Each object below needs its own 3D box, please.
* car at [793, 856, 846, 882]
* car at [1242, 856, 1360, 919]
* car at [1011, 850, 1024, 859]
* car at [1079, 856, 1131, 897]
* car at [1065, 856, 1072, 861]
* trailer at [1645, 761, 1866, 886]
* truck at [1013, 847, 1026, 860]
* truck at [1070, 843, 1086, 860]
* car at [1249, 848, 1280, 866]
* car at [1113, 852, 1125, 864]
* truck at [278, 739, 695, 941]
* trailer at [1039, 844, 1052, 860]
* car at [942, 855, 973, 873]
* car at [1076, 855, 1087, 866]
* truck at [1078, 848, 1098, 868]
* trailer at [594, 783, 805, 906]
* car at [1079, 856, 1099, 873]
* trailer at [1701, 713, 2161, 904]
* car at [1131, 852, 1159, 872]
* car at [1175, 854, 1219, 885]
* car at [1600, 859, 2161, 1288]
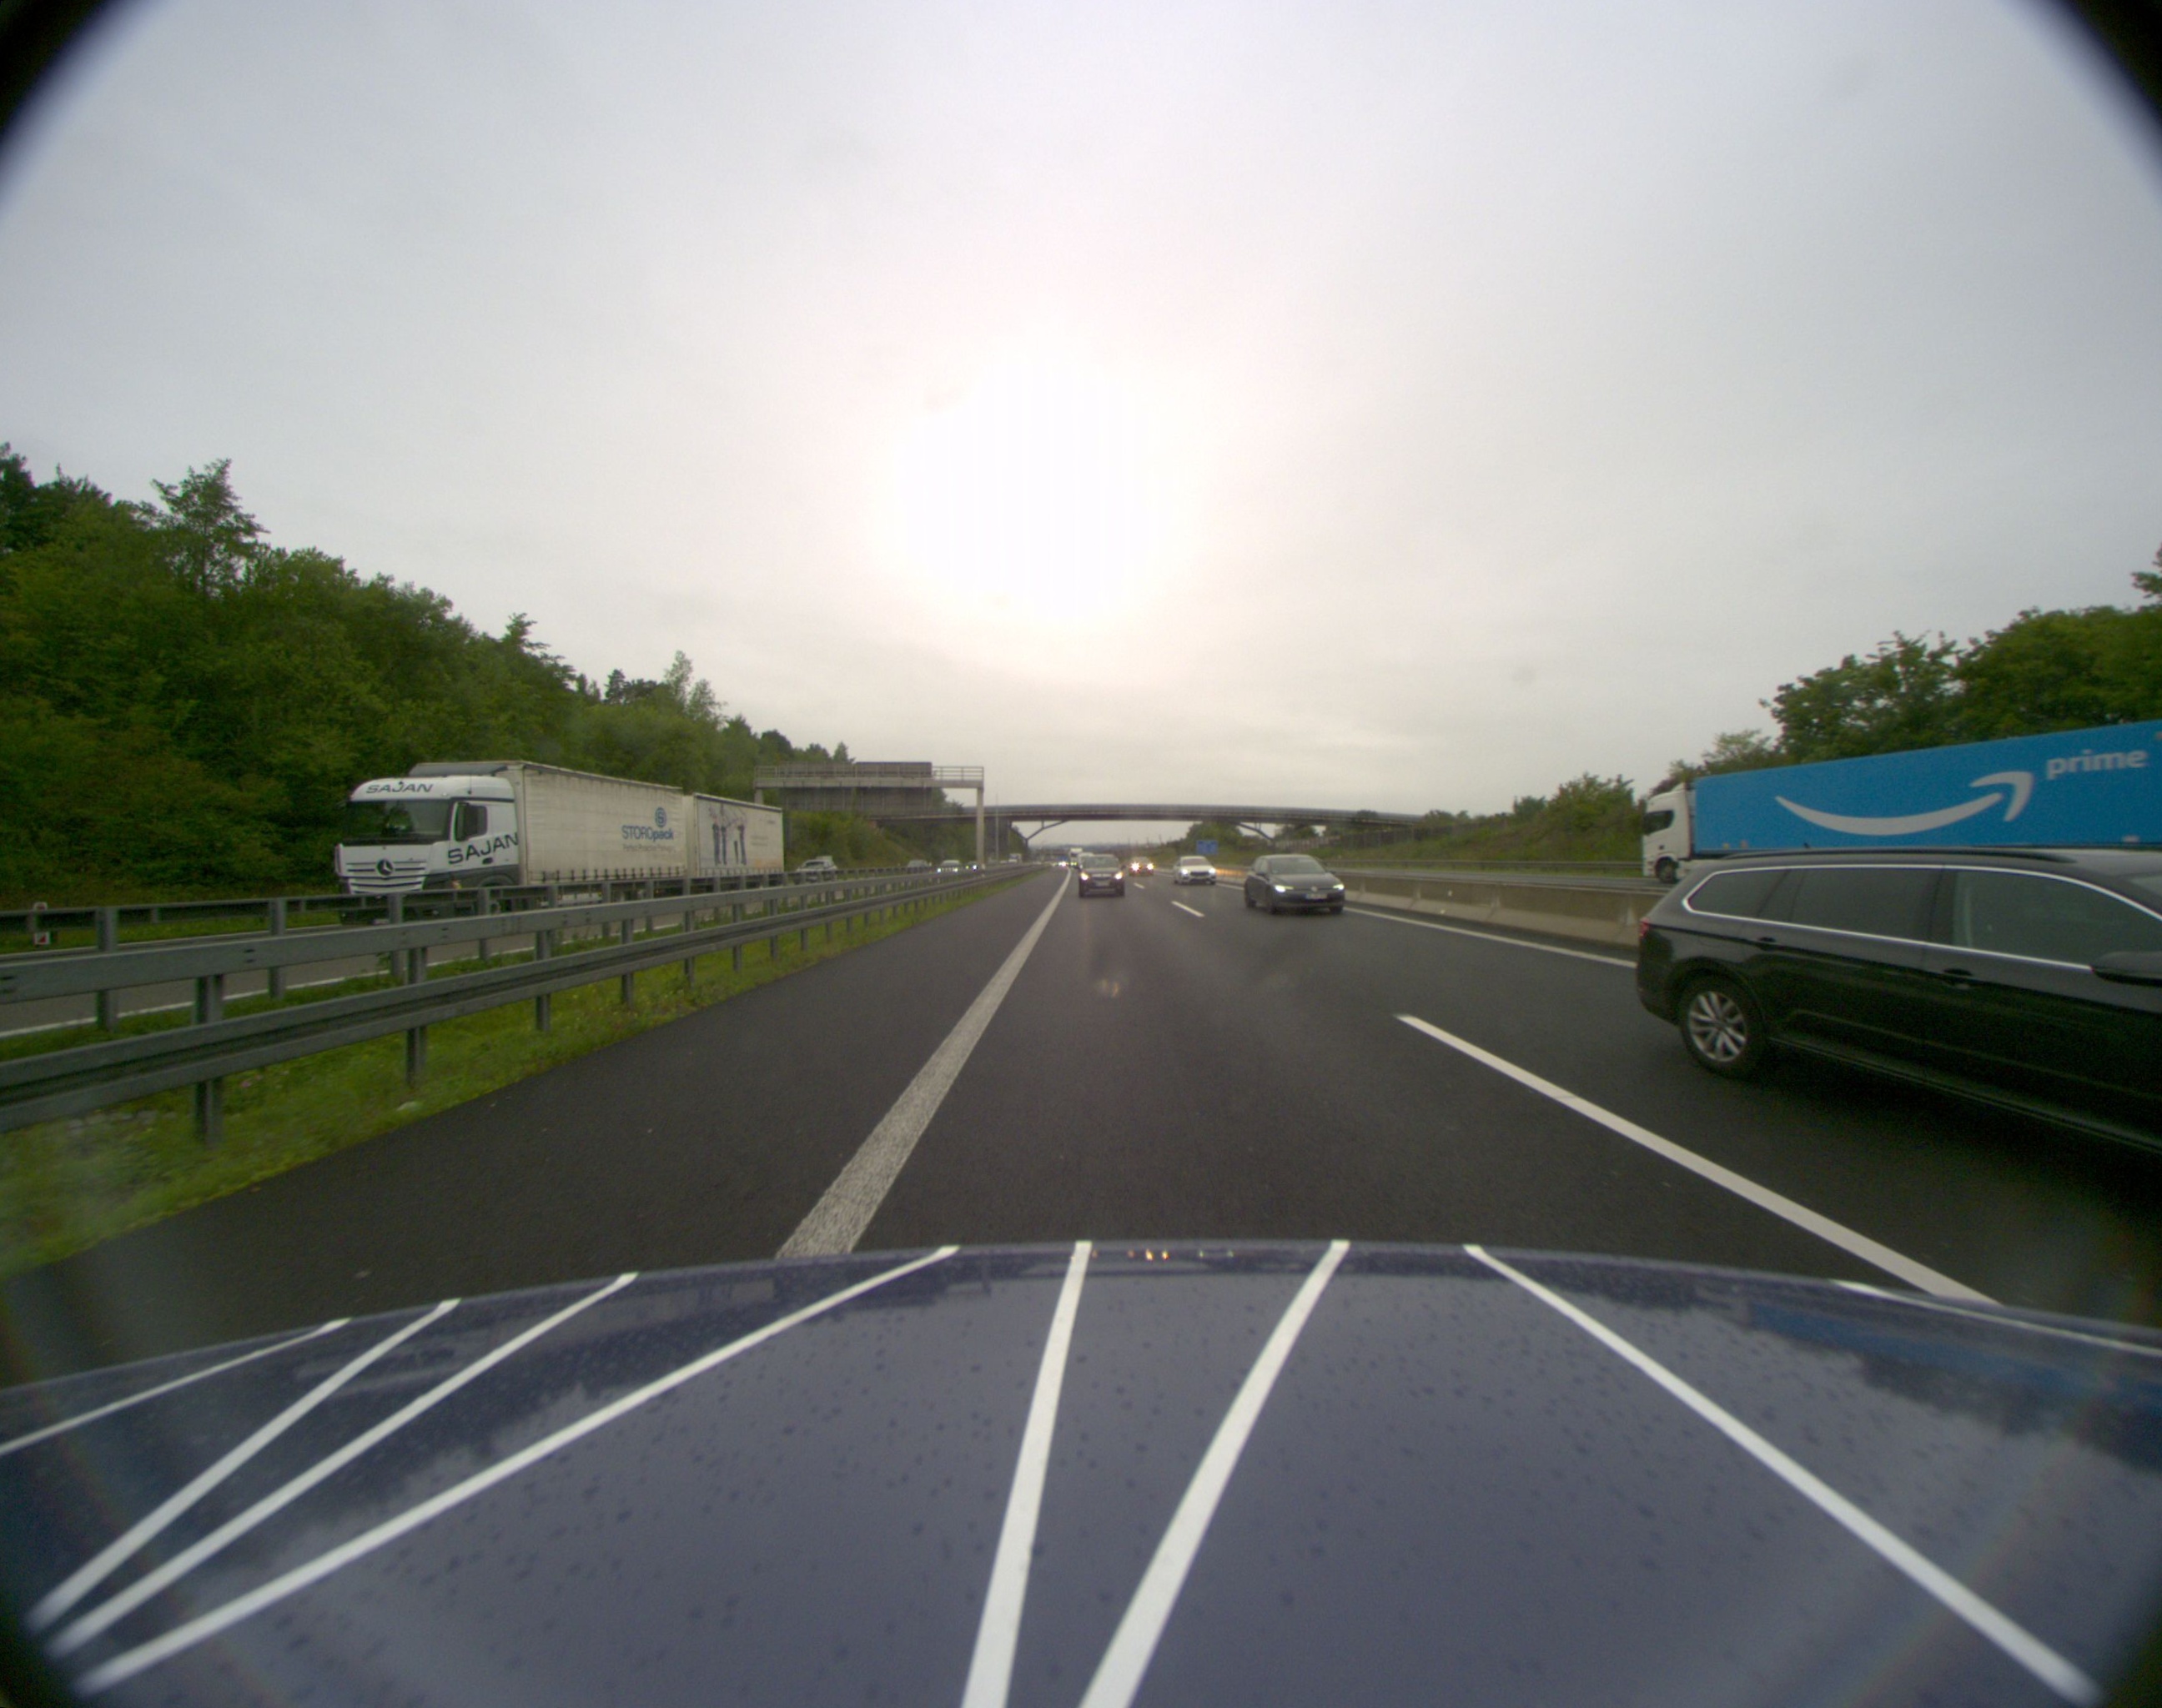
[{"bbox_3d":[-17.692,0.997,51.554,1.864,1.605,4.499,-1,1,2],"label":"car"},{"bbox_3d":[5.537,0.778,19.765,1.905,1.397,4.459,-1,0,2],"label":"car"},{"bbox_3d":[-12.221,0.094,146.546,1.864,1.795,4.647,-1,1,1],"label":"car"},{"bbox_3d":[1.028,0.849,30.652,1.905,1.497,4.115,-1,0,4],"label":"car"},{"bbox_3d":[-4.161,1.485,253.858,1.916,1.671,4.001,-1,1,4],"label":"car"},{"bbox_3d":[24.511,-1.025,28.089,2.796,4.060,6.042,-1,0,0],"label":"trailer"},{"bbox_3d":[-16.701,-0.197,207.222,2.909,3.397,9.279,-1,1,-2],"label":"truck"},{"bbox_3d":[-0.501,-0.560,166.090,3.153,3.332,13.099,-1,1,1],"label":"truck"},{"bbox_3d":[16.636,0.275,68.984,1.980,1.562,4.502,-1,0,4],"label":"car"},{"bbox_3d":[5.793,0.630,117.051,1.715,1.724,4.000,-1,0,2],"label":"car"},{"bbox_3d":[-15.387,-0.309,21.507,3.446,4.264,10.417,-1,0,0],"label":"truck"},{"bbox_3d":[-9.129,-0.502,196.058,2.547,3.799,11.330,-1,0,1],"label":"trailer"},{"bbox_3d":[-10.464,0.832,64.549,1.864,1.439,4.157,-1,1,1],"label":"car"},{"bbox_3d":[0.045,1.113,130.968,1.715,1.724,4.000,-1,0,2],"label":"car"},{"bbox_3d":[0.788,0.453,88.295,2.175,2.214,5.642,-1,0,0],"label":"truck"},{"bbox_3d":[-15.335,-0.369,32.004,3.446,4.264,10.453,-1,0,0],"label":"trailer"},{"bbox_3d":[0.858,1.063,81.222,1.825,1.669,4.001,-1,1,4],"label":"car"},{"bbox_3d":[24.463,-1.005,21.525,2.796,4.060,13.525,-1,0,0],"label":"trailer"},{"bbox_3d":[5.105,0.639,60.943,1.905,1.497,4.114,-1,0,0],"label":"car"},{"bbox_3d":[6.022,0.754,39.792,1.905,1.497,4.115,-1,0,4],"label":"car"},{"bbox_3d":[4.883,0.813,3.374,1.905,1.488,4.851,-1,0,1],"label":"car"}]
